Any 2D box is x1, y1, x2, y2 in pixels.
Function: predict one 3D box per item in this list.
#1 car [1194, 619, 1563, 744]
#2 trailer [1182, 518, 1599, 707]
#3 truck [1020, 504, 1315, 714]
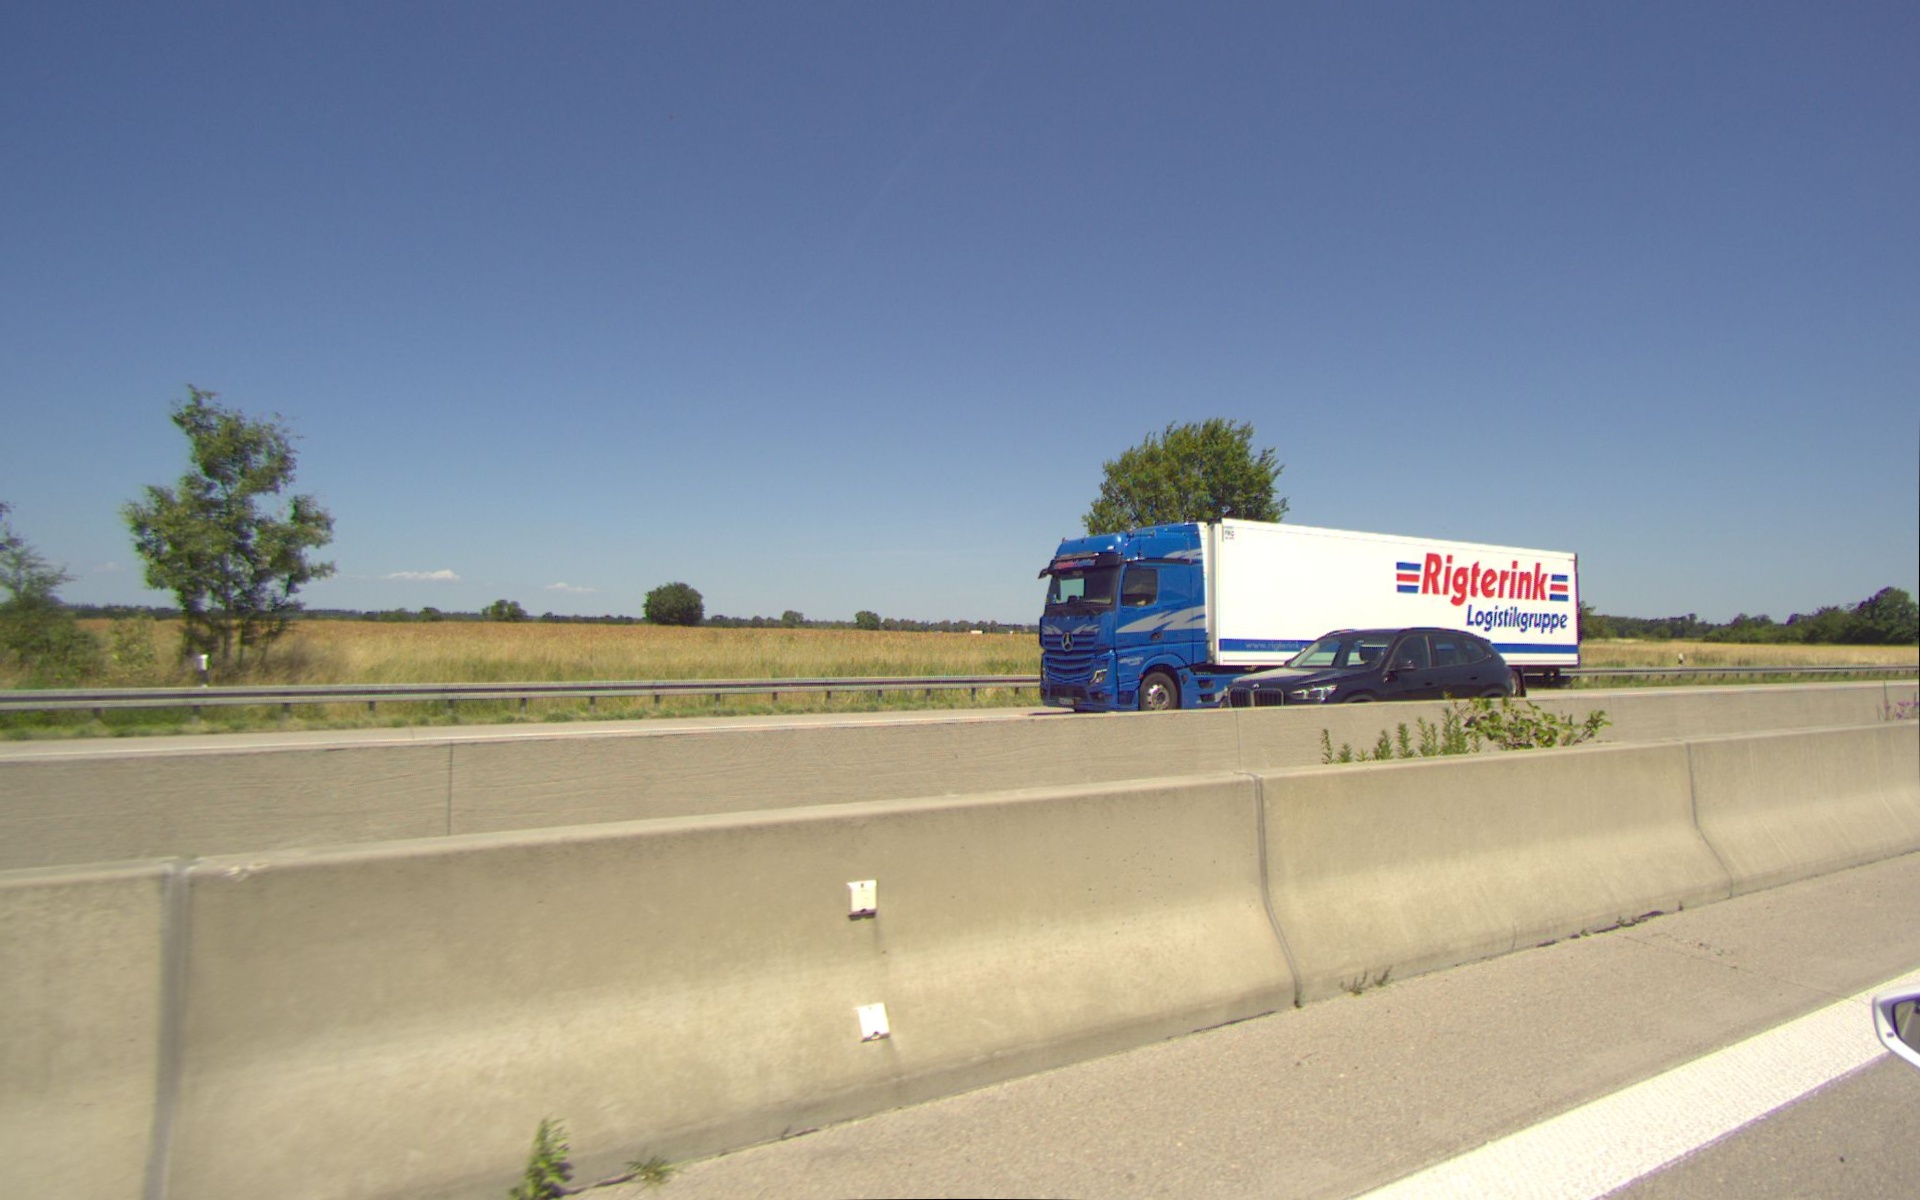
[{"bbox_3d":[5.633,0.985,13.316,5.010,1.344,1.889,2,0,-30],"label":"car"},{"bbox_3d":[11.294,0.399,25.445,12.364,3.961,2.894,2,0,-31],"label":"trailer"},{"bbox_3d":[4.439,0.224,21.395,5.618,3.915,2.883,1,0,-30],"label":"truck"}]
